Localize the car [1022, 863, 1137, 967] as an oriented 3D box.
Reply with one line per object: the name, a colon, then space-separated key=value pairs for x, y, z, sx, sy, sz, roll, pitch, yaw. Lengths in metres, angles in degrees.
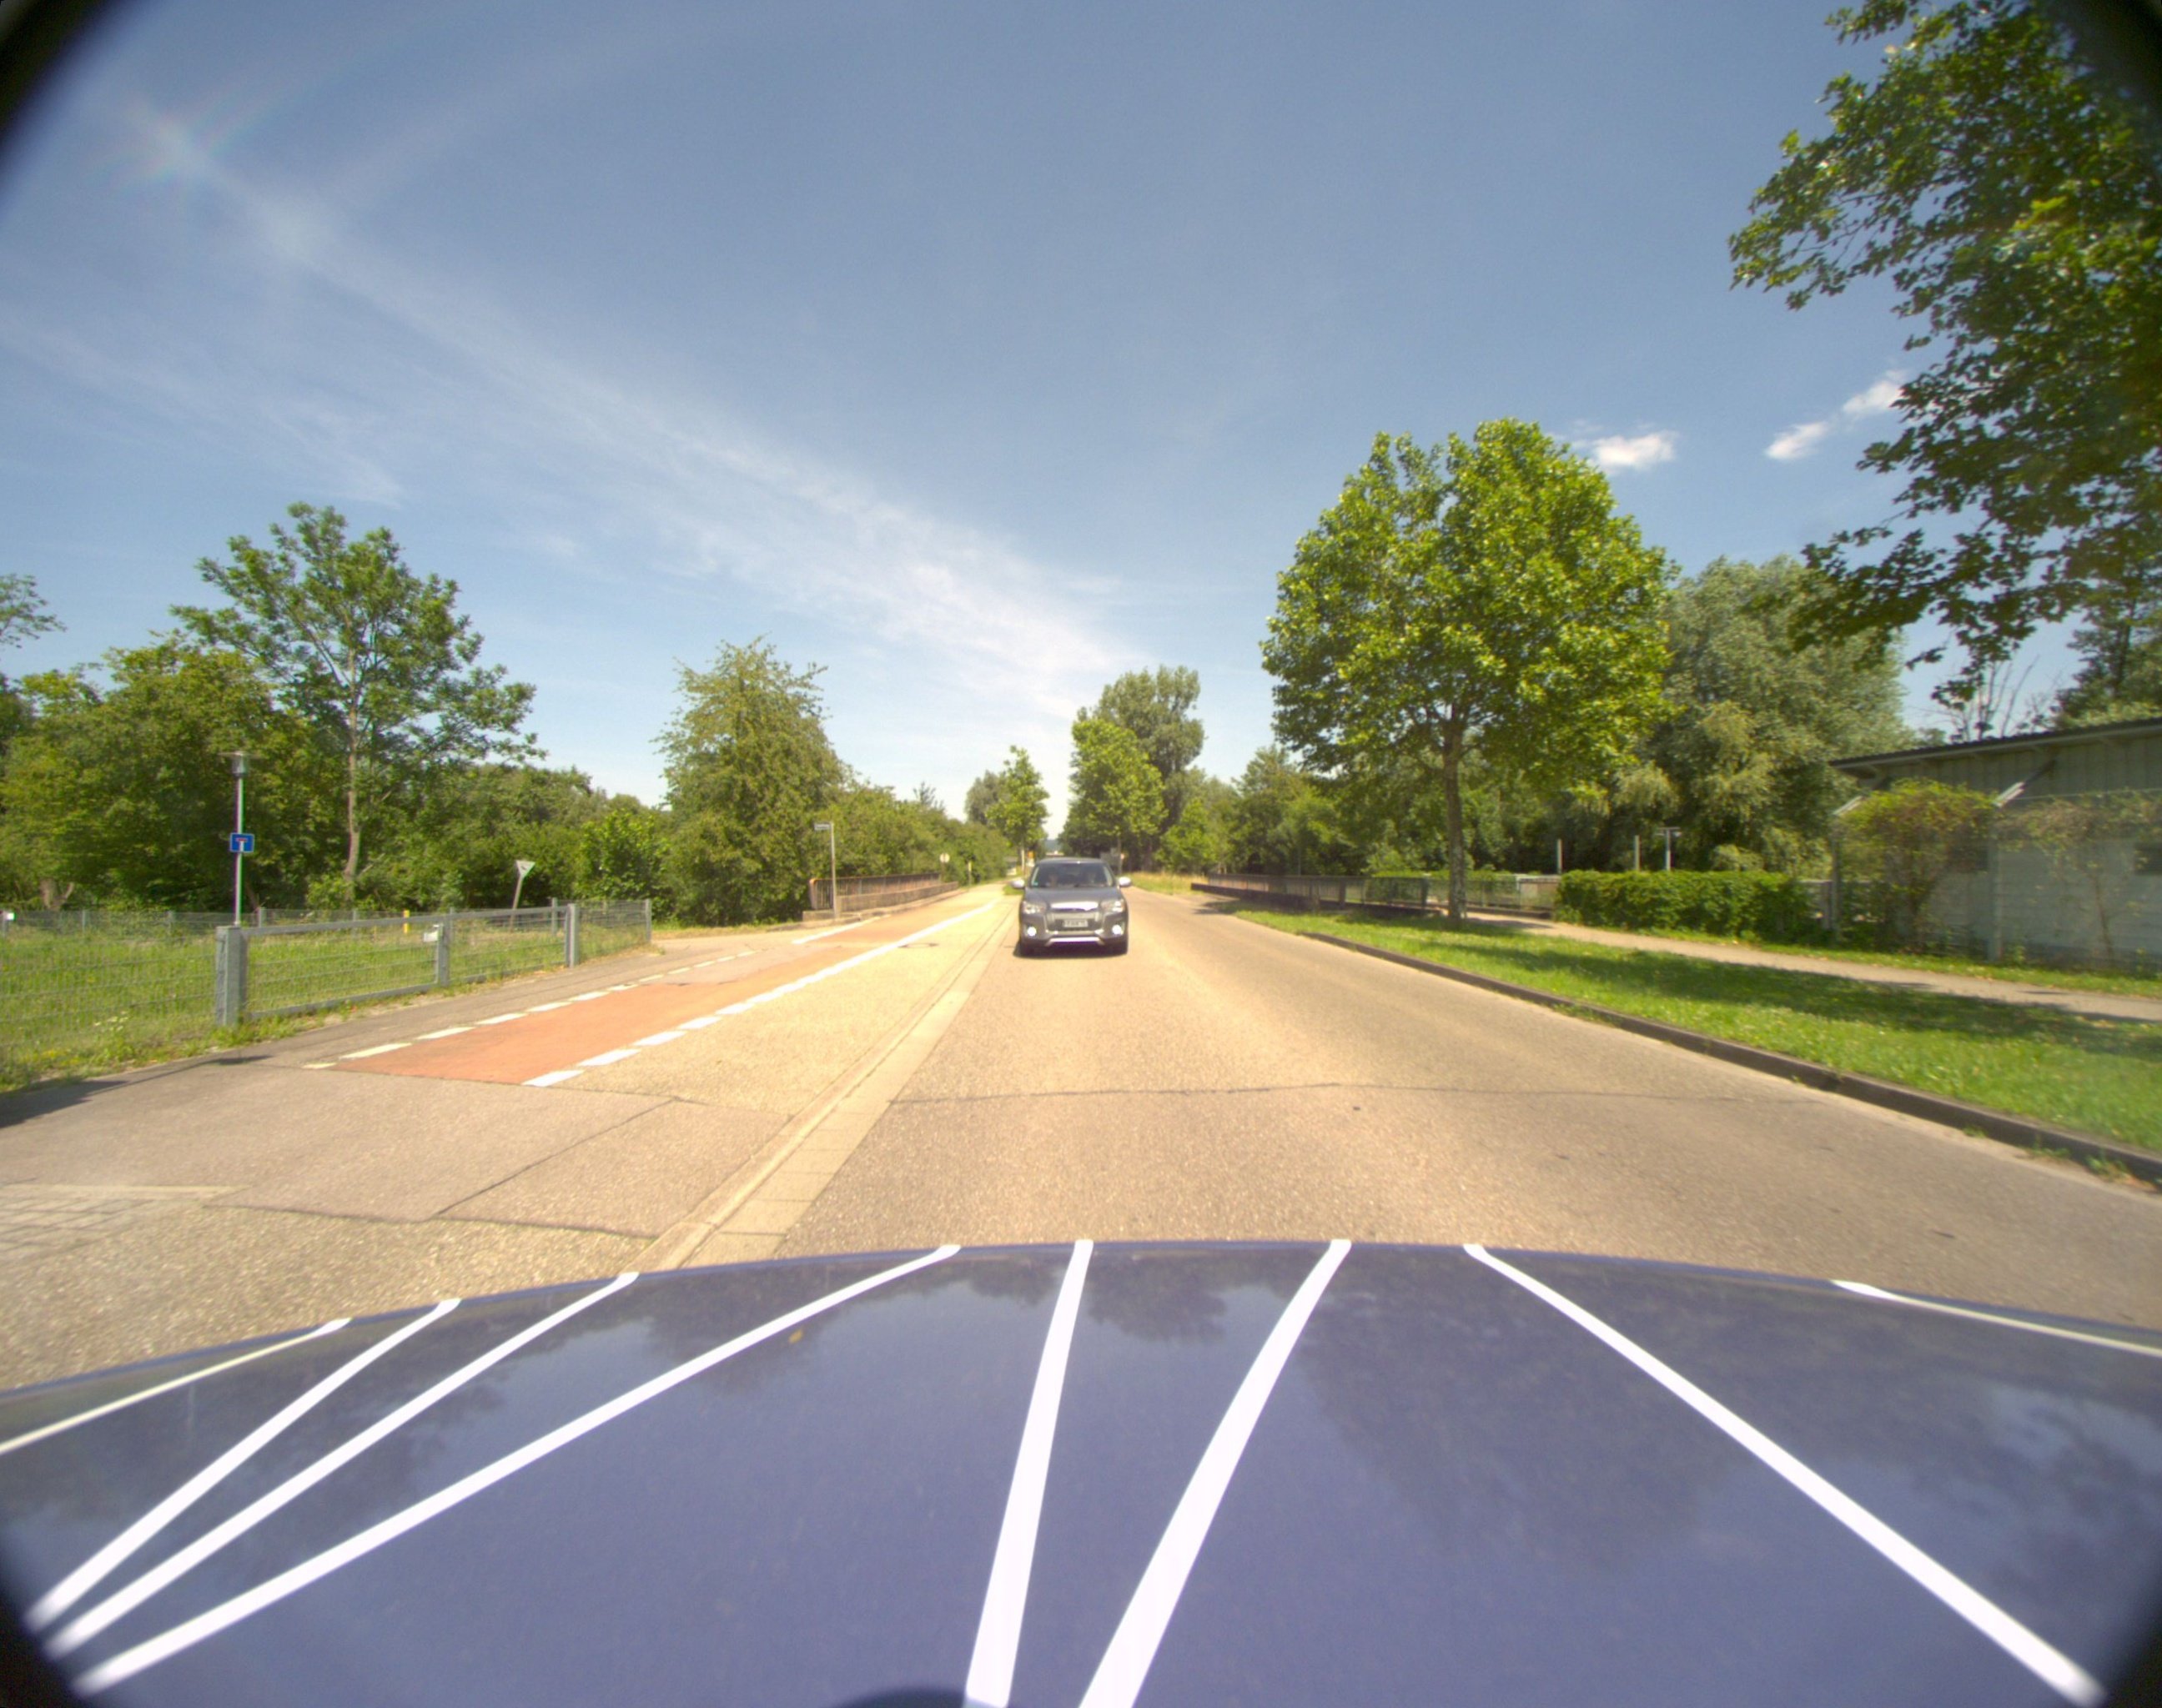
car: x=-0.111 y=0.954 z=13.856 sx=1.750 sy=1.525 sz=4.523 roll=0 pitch=0 yaw=-2

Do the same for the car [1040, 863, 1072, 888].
car: x=-1.479 y=1.210 z=44.185 sx=1.676 sy=1.342 sz=3.829 roll=-1 pitch=0 yaw=-4
